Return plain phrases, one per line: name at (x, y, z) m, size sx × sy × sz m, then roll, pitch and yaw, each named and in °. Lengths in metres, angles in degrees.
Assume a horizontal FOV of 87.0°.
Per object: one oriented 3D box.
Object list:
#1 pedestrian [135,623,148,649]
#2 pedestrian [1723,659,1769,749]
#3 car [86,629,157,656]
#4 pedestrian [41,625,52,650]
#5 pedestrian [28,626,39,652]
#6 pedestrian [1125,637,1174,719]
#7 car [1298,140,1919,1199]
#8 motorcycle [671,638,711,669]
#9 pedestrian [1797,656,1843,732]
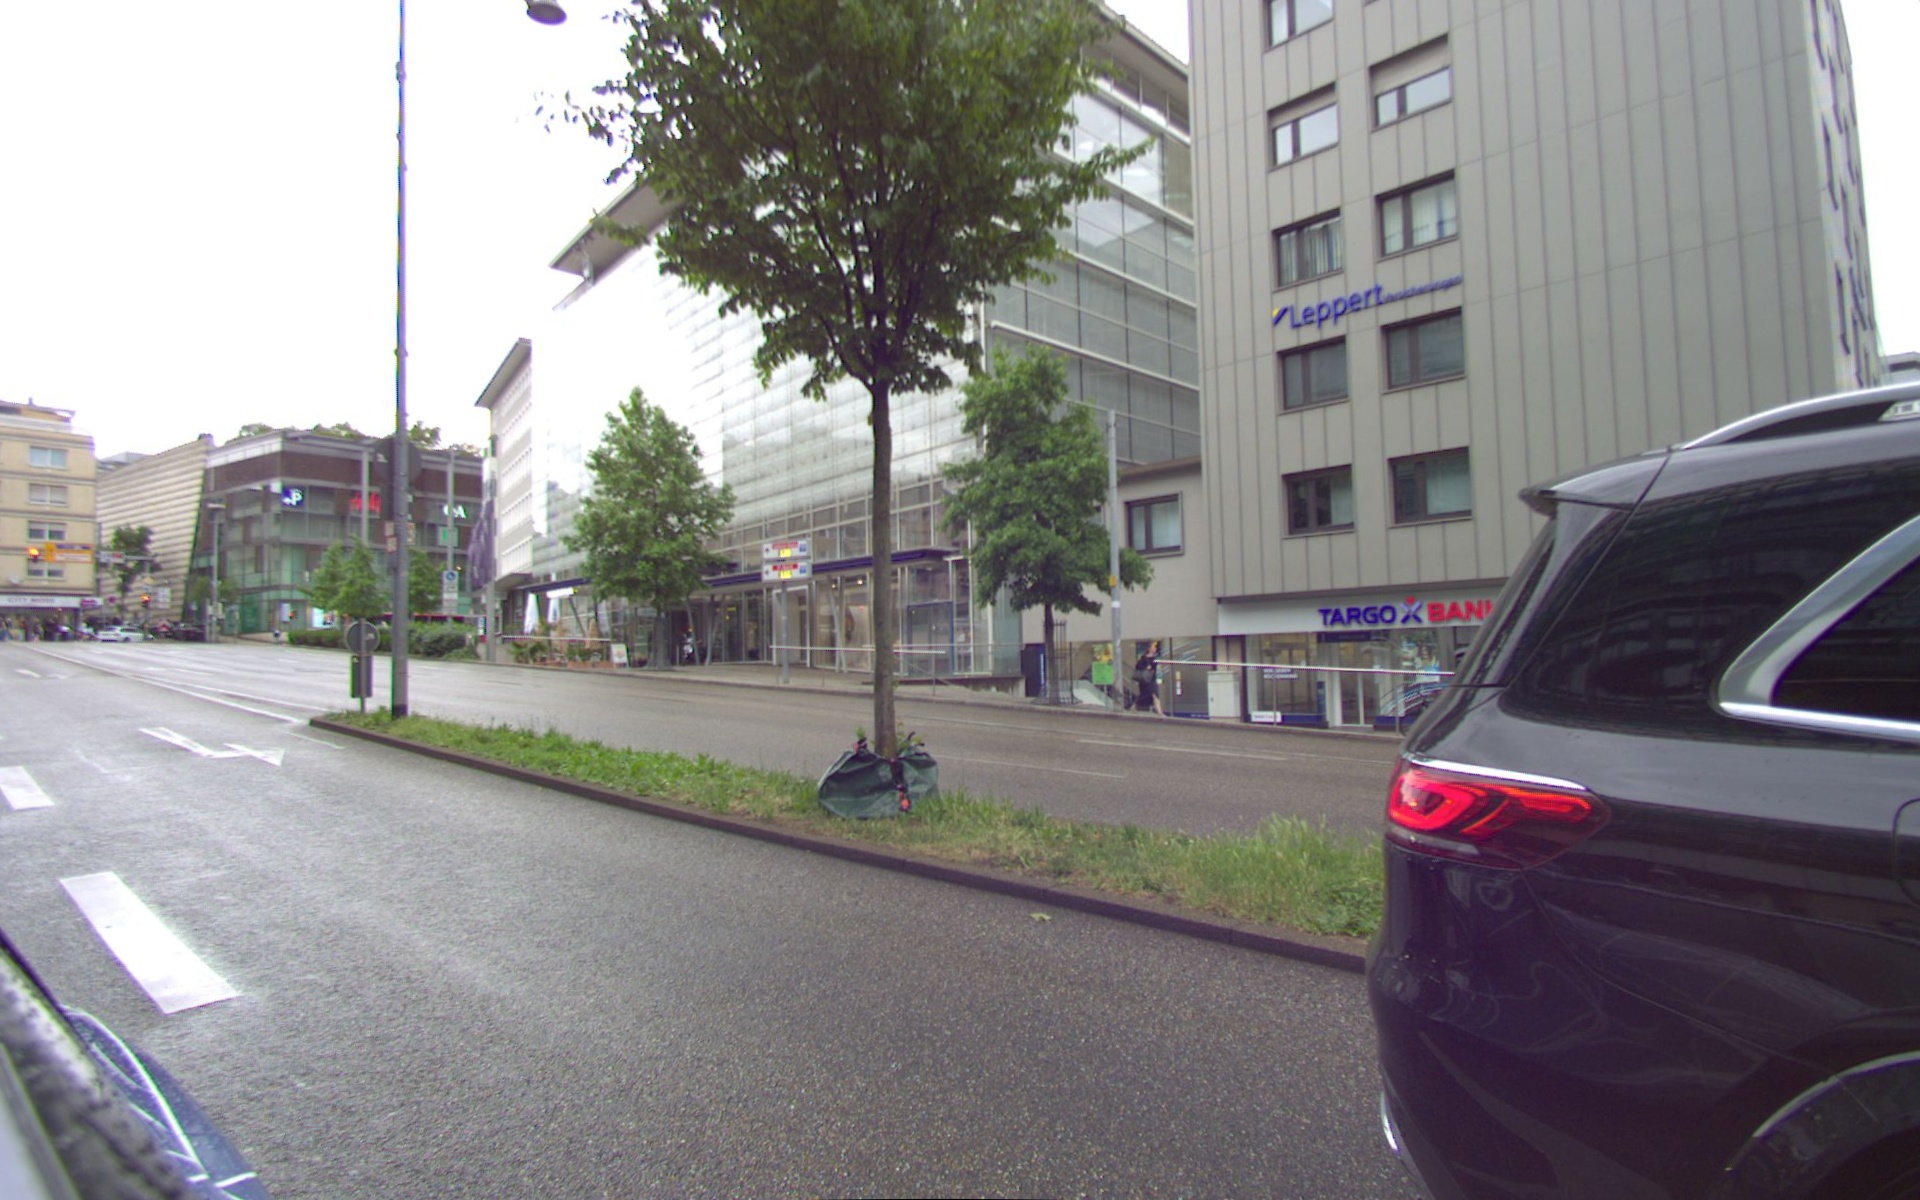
pedestrian at (-56.312, 2.479, 69.609) m, size 0.618 × 1.788 × 0.689 m, roll 0°, pitch 0°, yaw -45°
pedestrian at (15.333, 2.005, 19.757) m, size 0.634 × 1.649 × 0.781 m, roll 0°, pitch 0°, yaw 34°
car at (-66.505, 3.380, 80.380) m, size 1.971 × 2.029 × 4.590 m, roll 1°, pitch -2°, yaw -3°
pedestrian at (-59.887, 2.449, 66.334) m, size 0.602 × 1.642 × 0.422 m, roll -1°, pitch -3°, yaw 44°
pedestrian at (-59.106, 2.504, 64.586) m, size 0.603 × 1.642 × 0.422 m, roll -1°, pitch -3°, yaw 45°
pedestrian at (3.996, 1.623, 21.352) m, size 0.626 × 1.649 × 0.791 m, roll 0°, pitch 0°, yaw -41°
car at (3.107, 0.384, 0.803) m, size 5.069 × 1.884 × 1.892 m, roll 0°, pitch 0°, yaw 40°
motorcycle at (-12.187, 2.422, 45.881) m, size 0.620 × 1.336 × 1.685 m, roll -1°, pitch -3°, yaw 41°
pedestrian at (20.258, 2.190, 23.856) m, size 0.724 × 1.710 × 0.781 m, roll 0°, pitch -3°, yaw 34°
